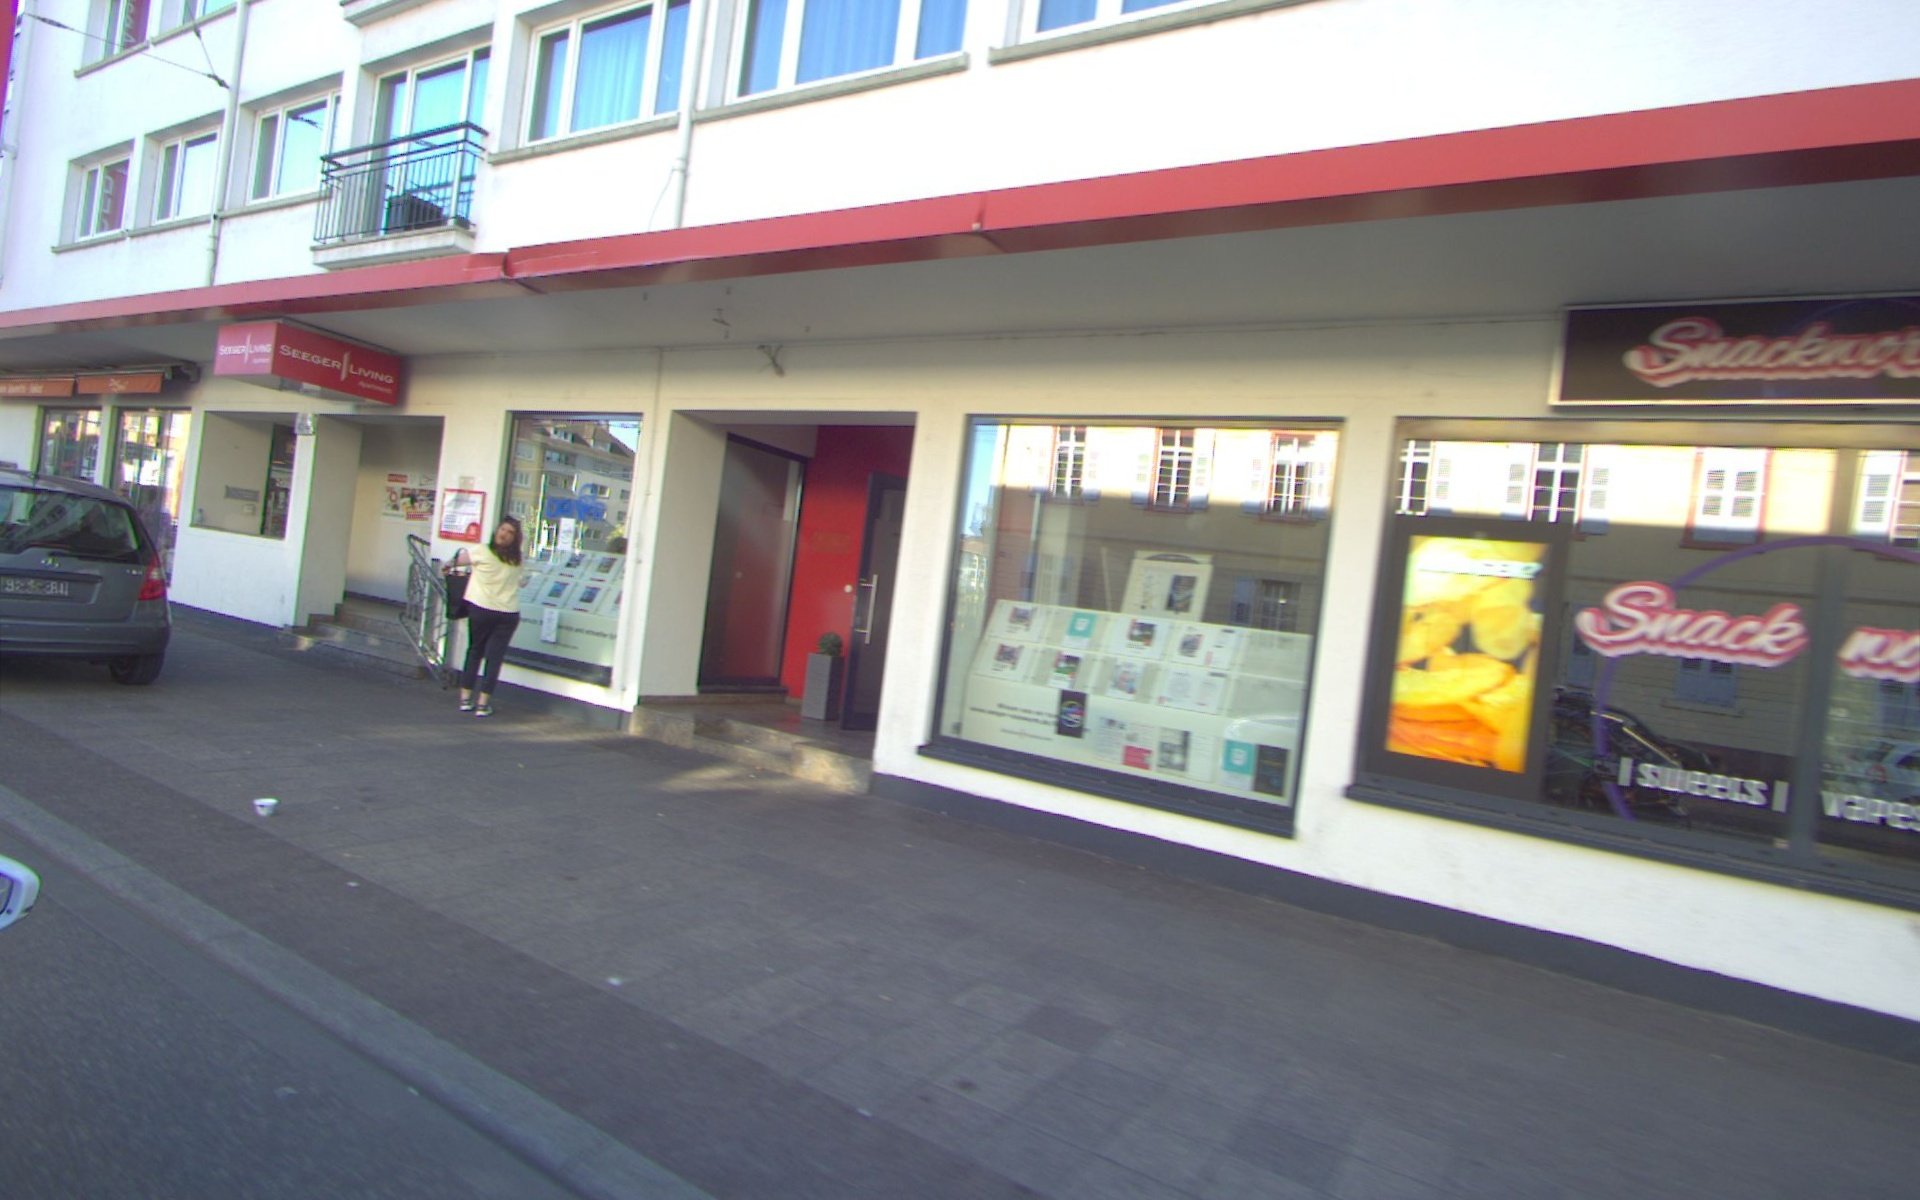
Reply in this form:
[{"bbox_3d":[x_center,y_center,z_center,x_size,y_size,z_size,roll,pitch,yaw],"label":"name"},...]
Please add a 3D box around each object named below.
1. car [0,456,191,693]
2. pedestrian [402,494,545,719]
[{"bbox_3d":[-8.089,-0.351,8.111,3.588,1.652,1.747,7,1,32],"label":"car"},{"bbox_3d":[-4.245,0.063,8.866,0.793,1.796,0.930,7,0,-15],"label":"pedestrian"}]
